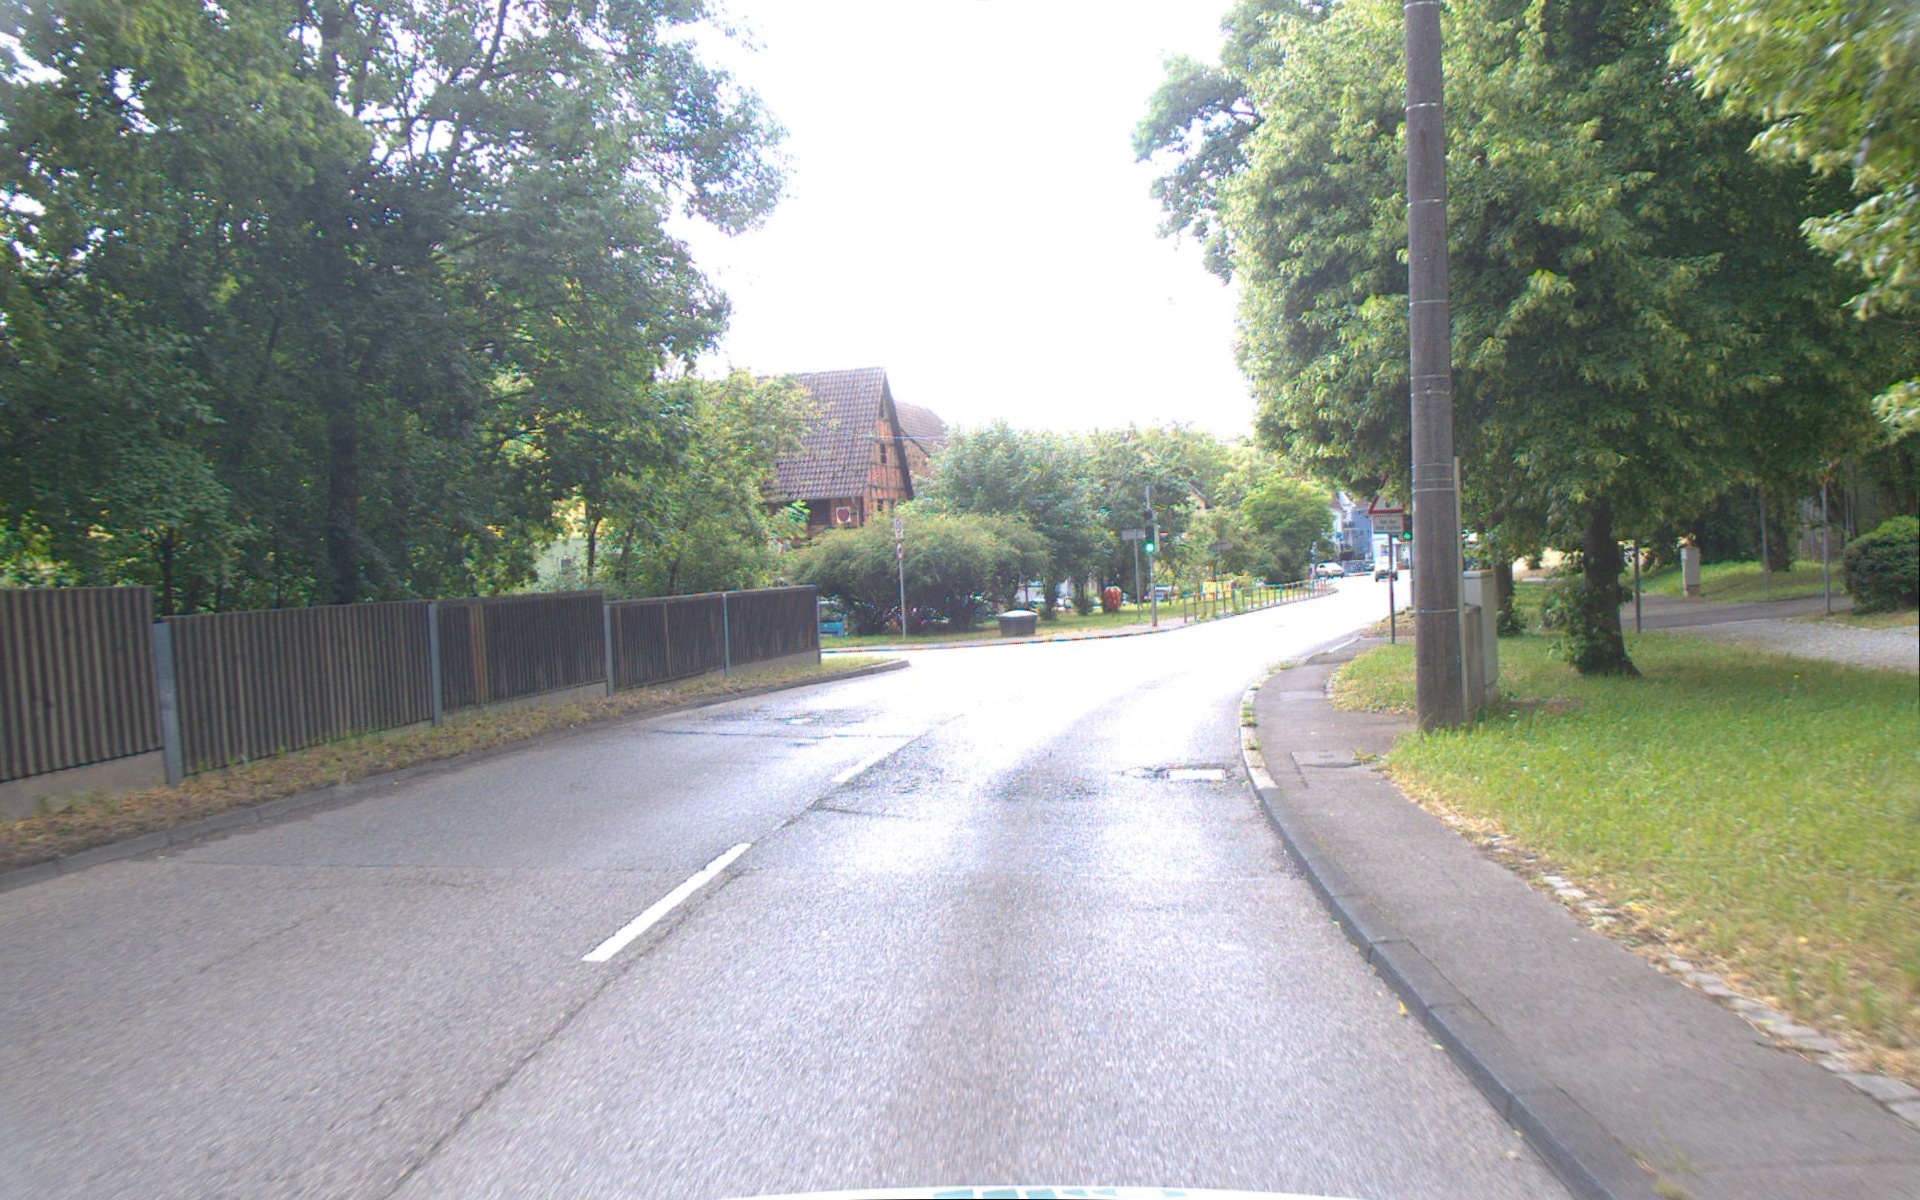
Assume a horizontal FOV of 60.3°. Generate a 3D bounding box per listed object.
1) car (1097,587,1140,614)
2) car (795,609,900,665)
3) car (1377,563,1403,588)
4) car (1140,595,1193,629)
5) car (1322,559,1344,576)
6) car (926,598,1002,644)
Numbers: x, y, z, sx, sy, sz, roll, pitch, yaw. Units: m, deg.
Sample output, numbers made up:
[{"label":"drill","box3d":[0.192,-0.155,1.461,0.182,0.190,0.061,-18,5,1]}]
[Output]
[{"label":"car","box3d":[8.501,0.017,88.687,1.521,1.300,2.553,-4,0,24]},{"label":"car","box3d":[-3.889,1.263,58.145,1.952,1.646,4.449,-5,0,20]},{"label":"car","box3d":[36.201,-2.047,139.195,1.807,1.964,4.772,-2,0,18]},{"label":"car","box3d":[12.043,0.695,96.331,1.882,1.724,3.999,-4,0,24]},{"label":"car","box3d":[37.828,-3.298,167.520,1.669,1.538,4.002,-5,0,18]},{"label":"car","box3d":[0.209,0.833,68.820,1.774,1.646,4.001,-5,0,21]}]
